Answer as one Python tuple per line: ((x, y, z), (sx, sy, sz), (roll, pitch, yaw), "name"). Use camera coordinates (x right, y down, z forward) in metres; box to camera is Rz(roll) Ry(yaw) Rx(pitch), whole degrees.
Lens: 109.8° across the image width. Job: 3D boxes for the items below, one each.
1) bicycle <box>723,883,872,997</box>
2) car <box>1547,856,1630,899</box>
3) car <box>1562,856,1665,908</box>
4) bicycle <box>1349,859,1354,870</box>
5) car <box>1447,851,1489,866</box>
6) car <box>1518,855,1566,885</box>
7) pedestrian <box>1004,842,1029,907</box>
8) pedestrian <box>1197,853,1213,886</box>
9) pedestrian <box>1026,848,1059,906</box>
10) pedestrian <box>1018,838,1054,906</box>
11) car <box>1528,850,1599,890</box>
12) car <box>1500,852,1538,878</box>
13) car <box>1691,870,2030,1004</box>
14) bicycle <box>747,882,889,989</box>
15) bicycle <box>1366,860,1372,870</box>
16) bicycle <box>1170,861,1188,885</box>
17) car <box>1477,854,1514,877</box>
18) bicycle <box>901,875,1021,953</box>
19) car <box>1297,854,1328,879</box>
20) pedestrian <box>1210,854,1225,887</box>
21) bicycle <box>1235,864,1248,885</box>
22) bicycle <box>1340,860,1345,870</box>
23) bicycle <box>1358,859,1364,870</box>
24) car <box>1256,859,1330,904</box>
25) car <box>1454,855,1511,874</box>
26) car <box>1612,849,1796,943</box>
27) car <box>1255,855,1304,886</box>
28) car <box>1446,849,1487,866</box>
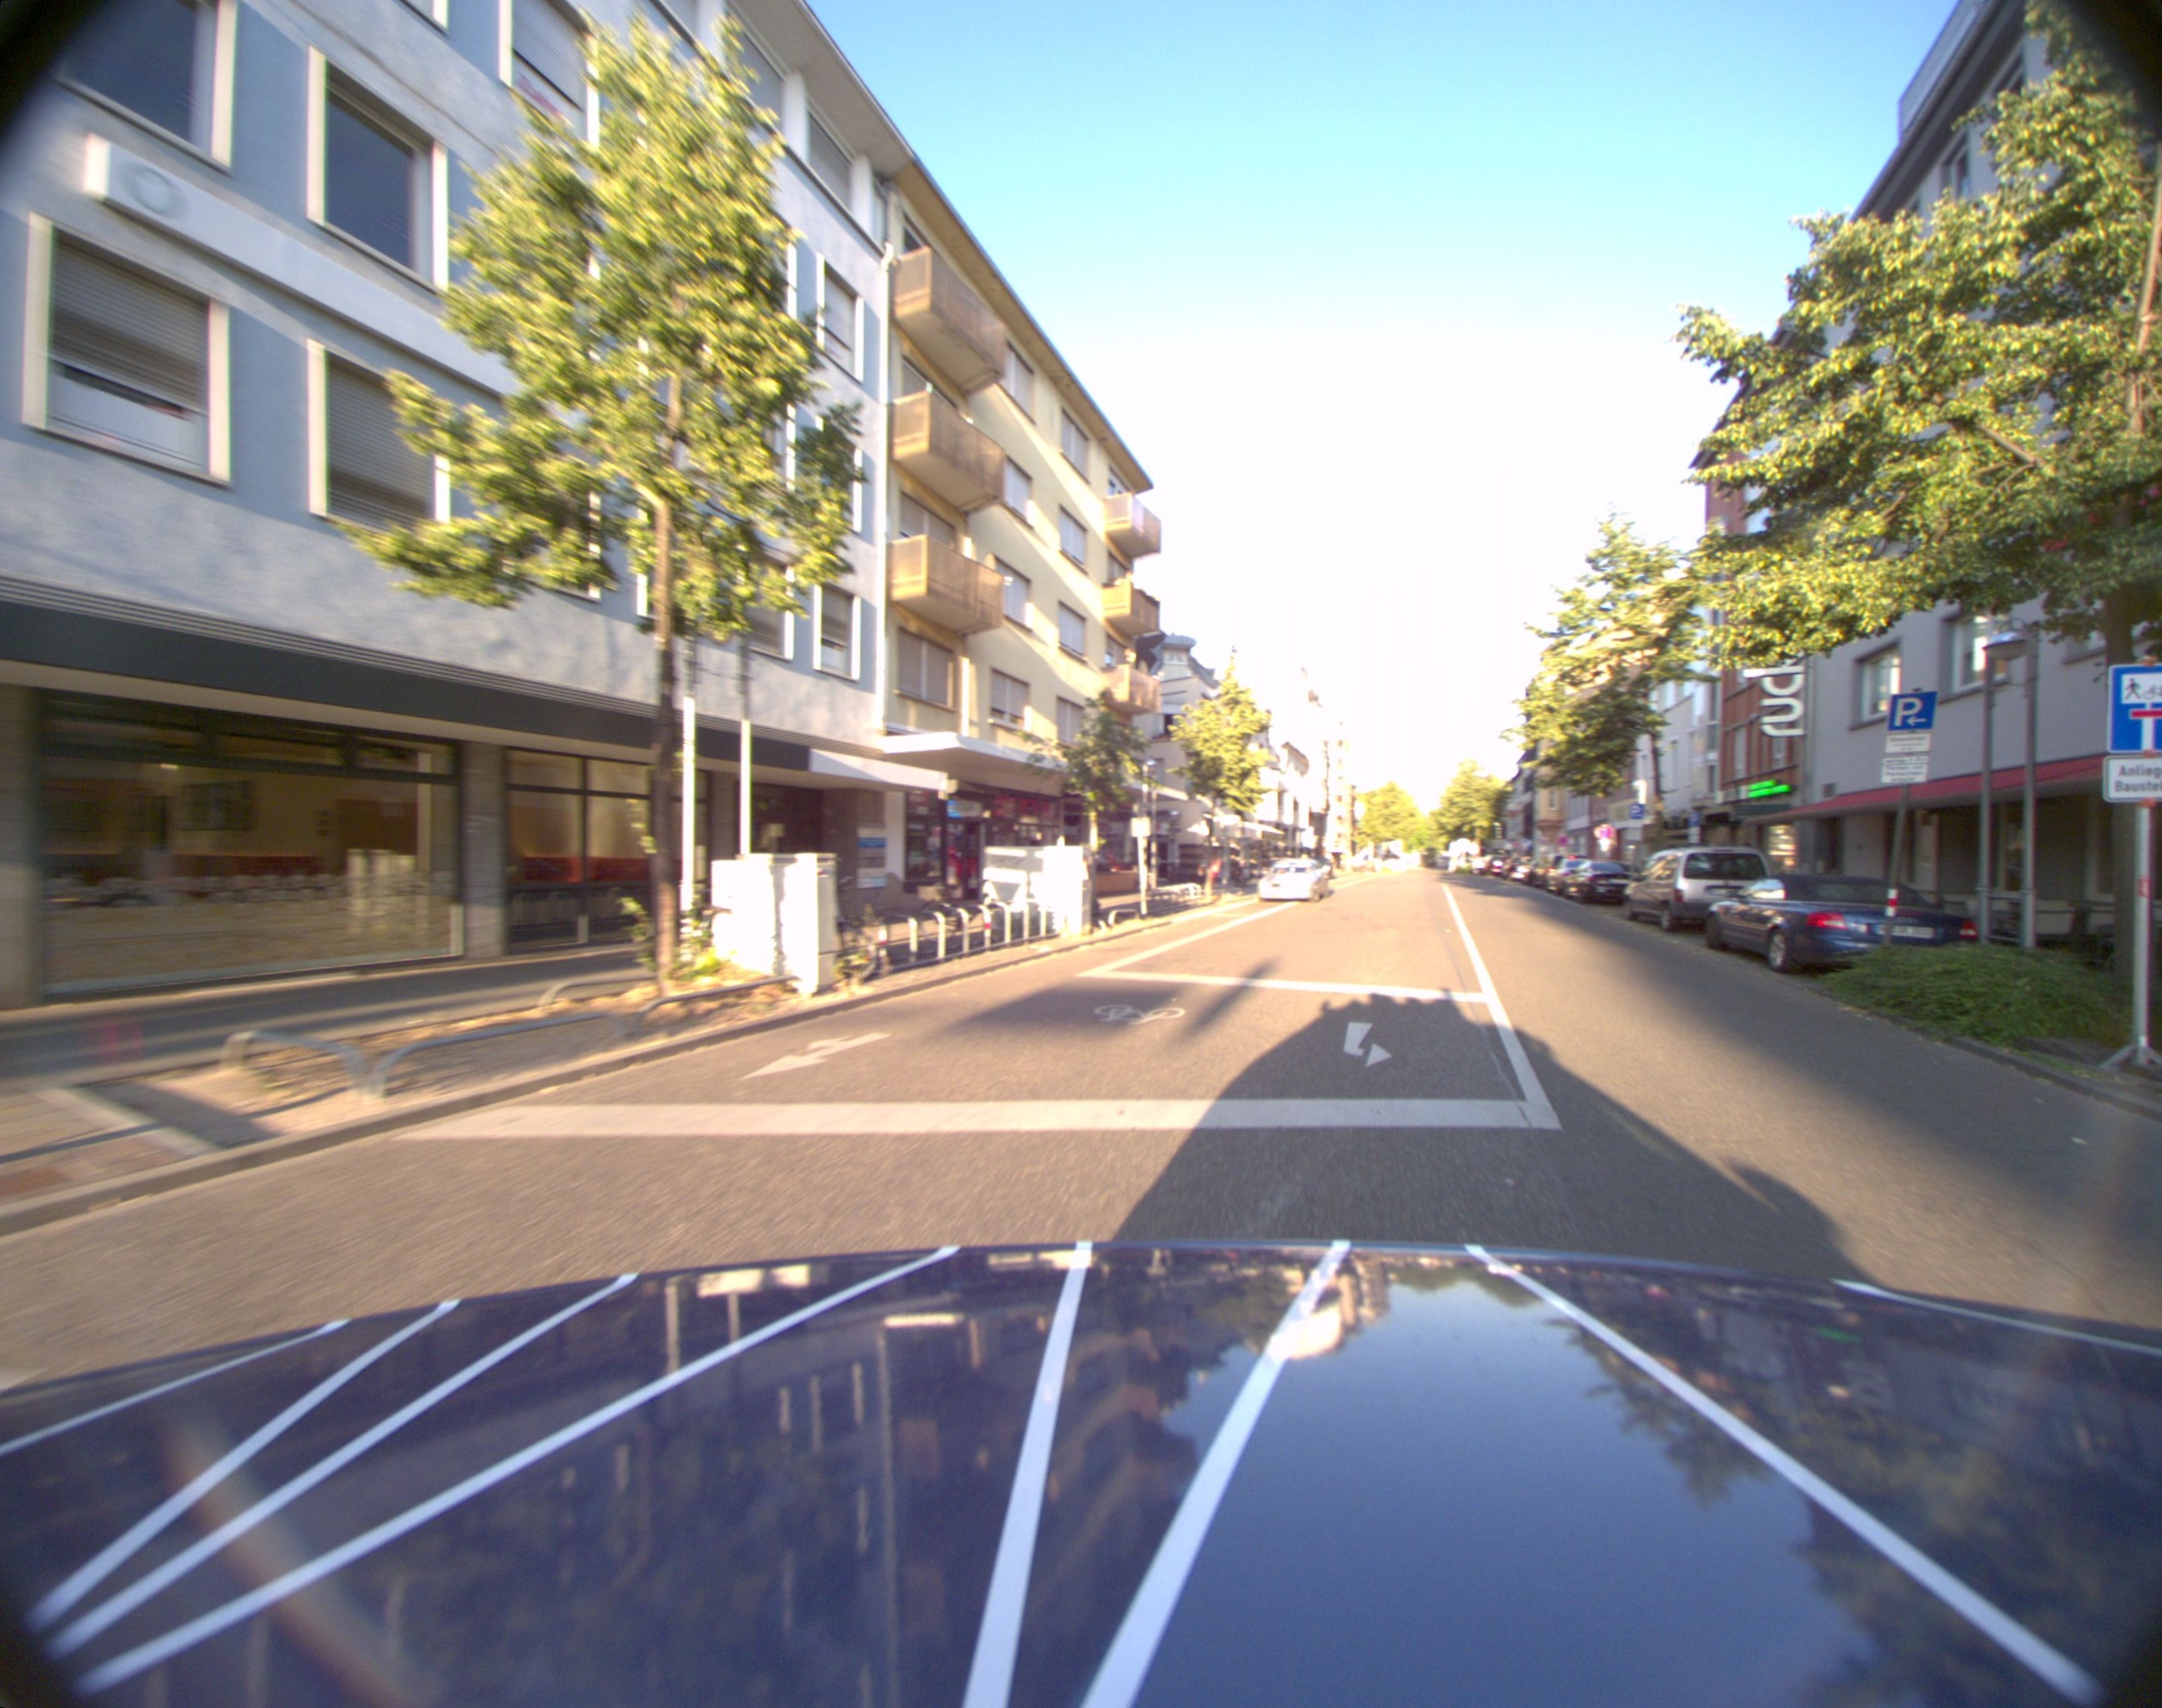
((-3.387, 0.973, 9.020), (1.914, 1.196, 0.471), (1, 1, 26), "bicycle")
((20.254, 0.881, 30.558), (1.995, 1.502, 5.122), (2, 1, 25), "car")
((17.629, 0.861, 25.401), (1.916, 1.502, 4.647), (2, 1, 24), "car")
((25.363, 0.971, 71.255), (0.469, 0.952, 1.921), (1, 1, 19), "bicycle")
((44.543, 0.483, 87.568), (4.124, 1.667, 2.000), (1, 1, 21), "car")
((25.773, 0.851, 42.600), (1.767, 1.502, 4.225), (2, 1, 25), "car")
((-1.820, 0.575, 21.410), (0.581, 1.772, 0.528), (-1, 0, 5), "pedestrian")
((5.774, 0.704, 35.331), (0.540, 1.521, 0.652), (1, 1, 30), "pedestrian")
((-1.106, 0.658, 22.074), (0.642, 1.650, 0.778), (-1, 0, 25), "pedestrian")
((-1.209, 0.479, 20.562), (0.708, 1.796, 0.651), (-1, 0, 25), "pedestrian")
((23.274, 0.715, 36.858), (1.995, 1.759, 5.308), (2, 1, 23), "car")
((28.930, 0.718, 50.305), (1.767, 1.604, 4.225), (2, 1, 25), "car")
((10.833, 1.004, 11.083), (1.916, 1.378, 4.389), (2, 1, 24), "car")
((-3.316, 0.979, 9.532), (1.914, 1.196, 0.471), (1, 1, 26), "bicycle")
((26.890, 1.007, 70.882), (0.469, 0.952, 1.921), (1, 1, 19), "bicycle")
((4.679, 0.892, 36.159), (0.391, 1.044, 1.847), (0, 1, 21), "bicycle")
((33.801, 0.893, 62.026), (2.051, 1.742, 4.224), (1, 1, 21), "car")
((-1.968, 0.963, 12.499), (1.915, 1.196, 0.470), (0, 1, 14), "bicycle")
((15.395, 0.798, 50.456), (1.569, 1.540, 2.808), (2, 1, 24), "car")
((6.291, 0.752, 34.967), (0.540, 1.521, 0.555), (1, 1, 30), "pedestrian")
((7.725, 0.981, 36.534), (0.391, 0.950, 1.618), (0, 1, 21), "bicycle")
((24.524, 1.029, 71.281), (0.469, 0.952, 1.921), (1, 1, 19), "bicycle")
((26.159, 0.987, 71.080), (0.469, 0.952, 1.921), (1, 1, 19), "bicycle")
((7.347, 0.880, 26.059), (1.802, 1.369, 4.559), (-1, 0, 24), "car")
((35.758, 0.937, 67.802), (4.184, 1.572, 2.059), (1, 1, 19), "car")
((13.529, 0.796, 16.839), (1.916, 1.777, 4.154), (2, 1, 21), "car")
((10.034, 0.802, 38.219), (1.724, 1.413, 4.039), (2, 1, 24), "car")
((46.714, 0.380, 92.238), (4.184, 1.972, 2.059), (1, 1, 19), "car")
